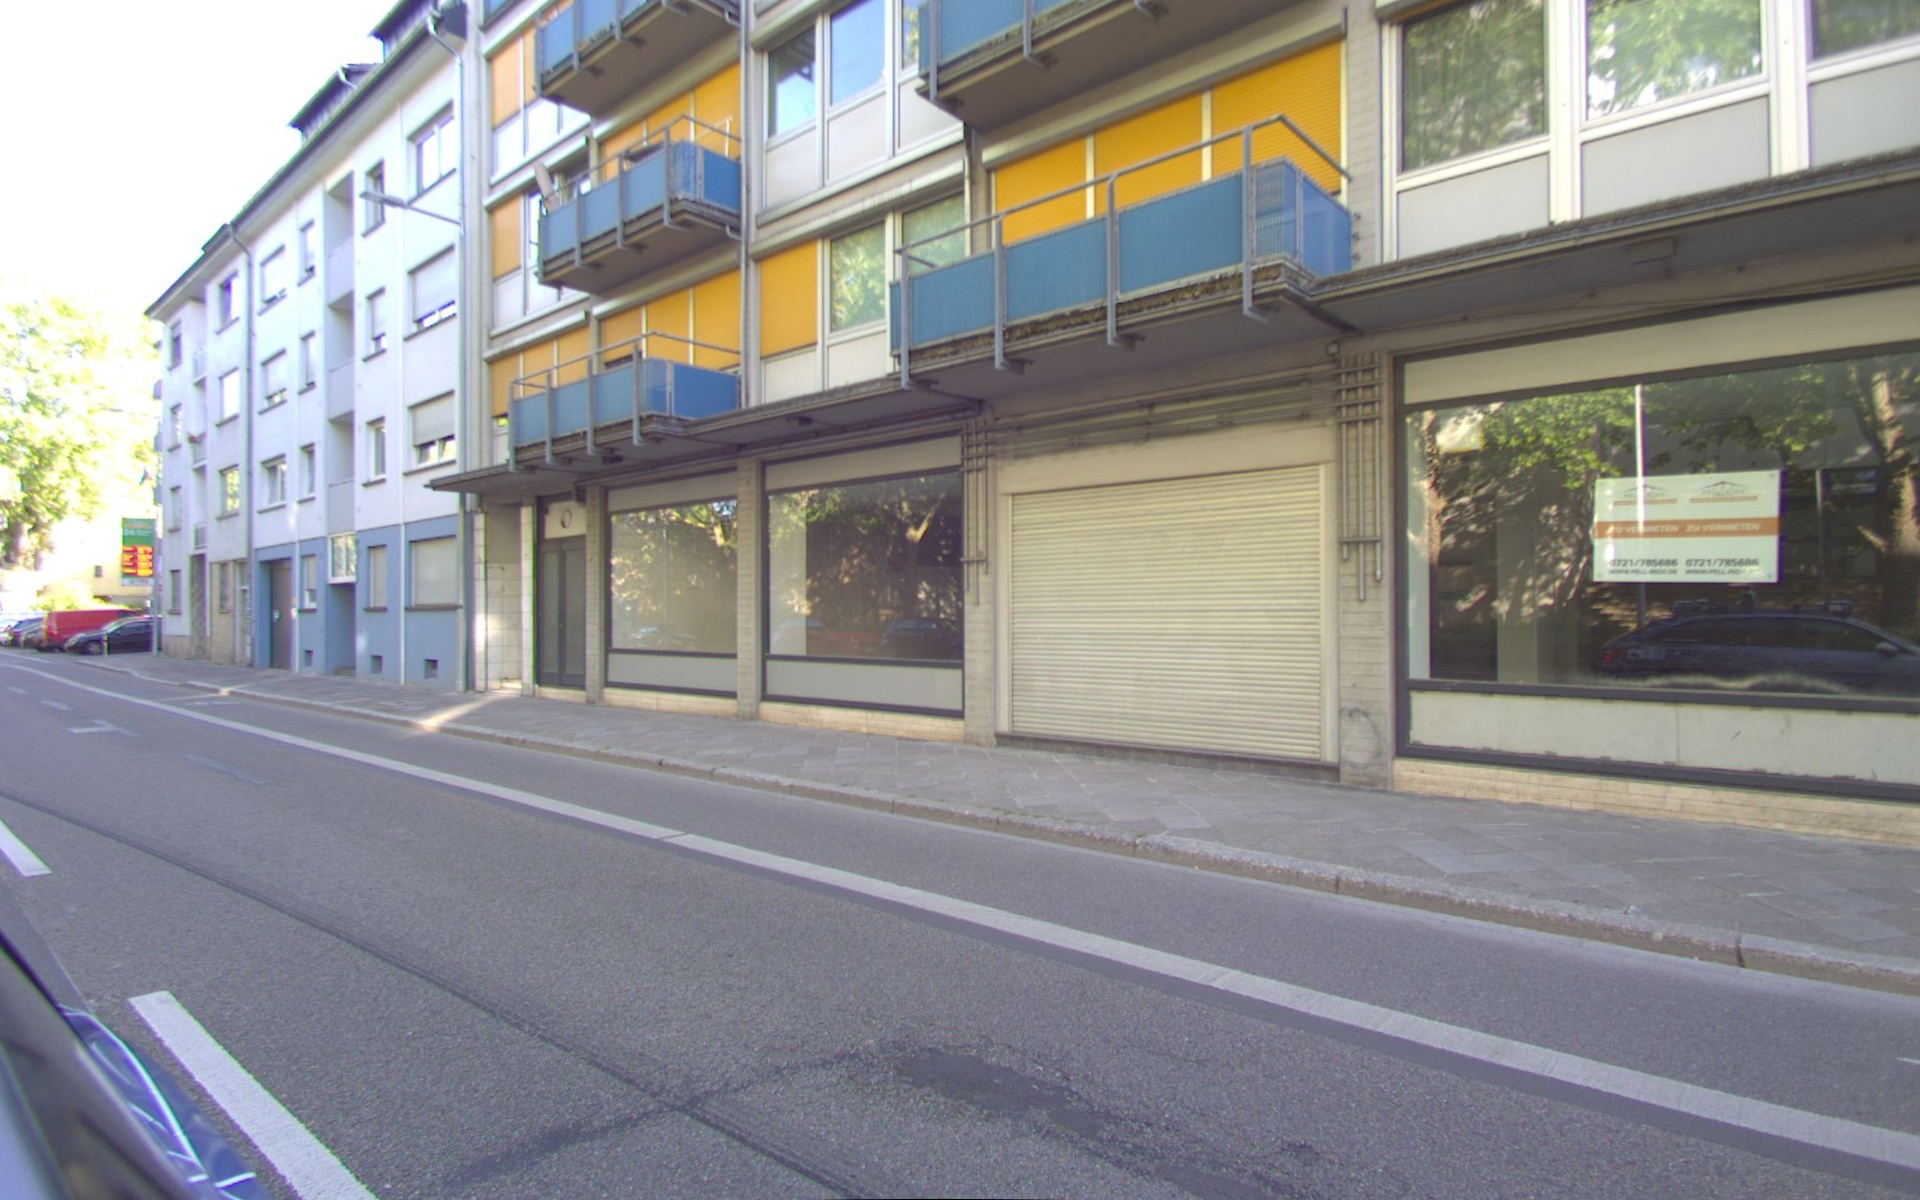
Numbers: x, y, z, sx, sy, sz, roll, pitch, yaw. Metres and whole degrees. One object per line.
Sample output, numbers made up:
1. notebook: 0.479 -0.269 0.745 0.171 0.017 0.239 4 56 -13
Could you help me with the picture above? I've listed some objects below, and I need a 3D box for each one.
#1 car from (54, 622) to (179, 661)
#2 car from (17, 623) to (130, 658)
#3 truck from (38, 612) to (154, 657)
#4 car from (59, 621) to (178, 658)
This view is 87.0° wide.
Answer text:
1. car: -36.636 1.766 44.018 1.761 1.468 3.944 -1 0 42
2. car: -42.918 1.908 49.045 1.761 1.514 3.944 -1 0 42
3. truck: -40.508 1.575 47.497 1.761 1.951 3.944 -1 0 42
4. car: -38.117 1.763 45.906 1.761 1.514 3.944 -1 0 42
